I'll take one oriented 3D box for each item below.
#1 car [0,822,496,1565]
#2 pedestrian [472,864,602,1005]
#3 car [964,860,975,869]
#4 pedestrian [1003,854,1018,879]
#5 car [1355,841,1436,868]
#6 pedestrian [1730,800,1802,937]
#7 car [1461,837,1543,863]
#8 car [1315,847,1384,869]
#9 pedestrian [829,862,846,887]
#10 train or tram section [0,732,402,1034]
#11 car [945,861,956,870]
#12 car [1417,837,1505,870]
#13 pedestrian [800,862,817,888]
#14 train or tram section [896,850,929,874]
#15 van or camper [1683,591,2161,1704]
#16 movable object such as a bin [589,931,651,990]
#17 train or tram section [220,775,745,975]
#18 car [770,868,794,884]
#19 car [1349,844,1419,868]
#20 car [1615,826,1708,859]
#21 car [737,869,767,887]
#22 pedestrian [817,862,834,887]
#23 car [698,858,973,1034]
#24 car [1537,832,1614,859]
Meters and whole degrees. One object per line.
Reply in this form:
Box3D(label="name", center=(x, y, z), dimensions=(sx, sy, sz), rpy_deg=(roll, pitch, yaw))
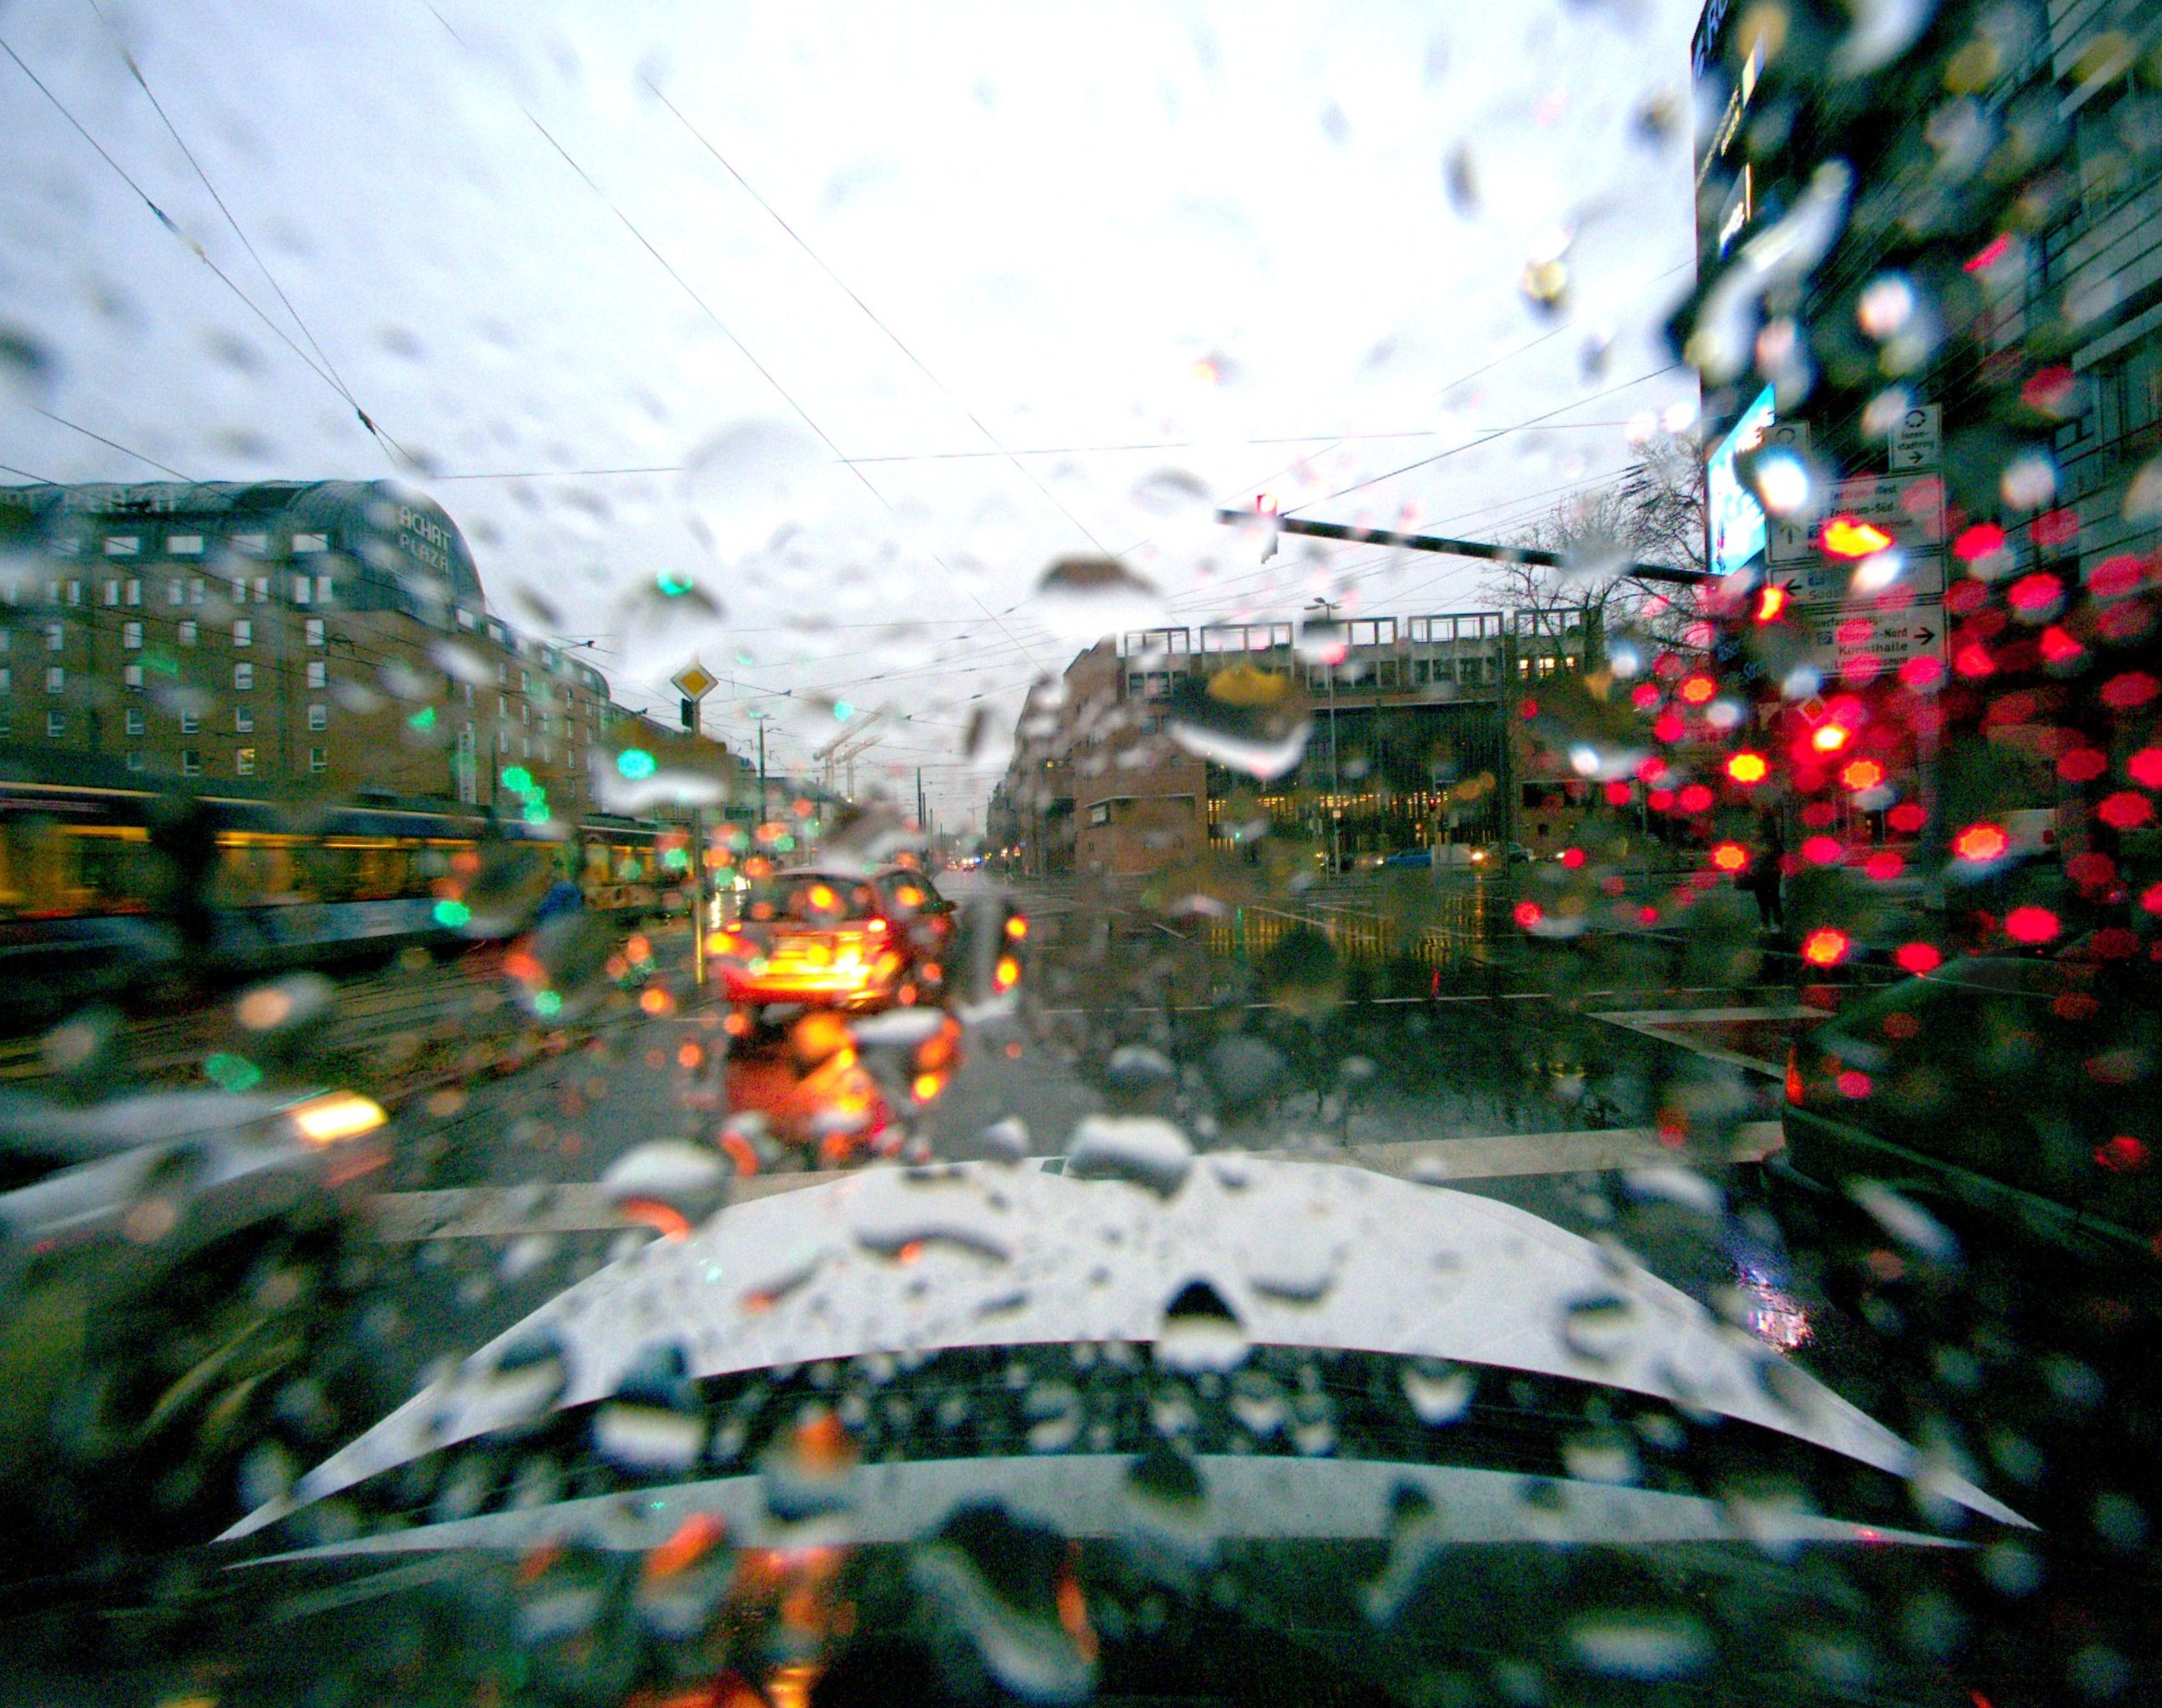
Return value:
Box3D(label="car", center=(-2.999, 0.646, 0.895), dimensions=(1.699, 1.448, 4.000), rpy_deg=(-2, -3, 2))
Box3D(label="pedestrian", center=(-6.663, 0.959, 10.021), dimensions=(0.708, 1.601, 1.041), rpy_deg=(-4, -1, 16))
Box3D(label="car", center=(-19.862, 1.869, 145.147), dimensions=(1.868, 1.579, 3.991), rpy_deg=(0, 0, -6))
Box3D(label="pedestrian", center=(-5.727, 1.017, 66.306), dimensions=(1.069, 2.013, 0.682), rpy_deg=(-2, 0, -12))
Box3D(label="car", center=(18.323, 0.012, 47.531), dimensions=(3.979, 1.263, 1.845), rpy_deg=(-2, 4, -4))
Box3D(label="pedestrian", center=(11.259, 0.234, 13.405), dimensions=(0.574, 2.184, 0.619), rpy_deg=(-1, -1, -4))
Box3D(label="car", center=(24.830, -0.260, 48.084), dimensions=(3.979, 1.288, 1.845), rpy_deg=(-2, 4, -4))
Box3D(label="car", center=(18.257, 0.288, 55.450), dimensions=(3.977, 1.310, 1.998), rpy_deg=(-2, 0, -2))
Box3D(label="pedestrian", center=(-20.213, 1.701, 67.677), dimensions=(0.973, 2.014, 0.838), rpy_deg=(-1, -1, 16))
Box3D(label="train or tram section", center=(-14.388, 0.382, 5.383), dimensions=(2.855, 3.614, 20.068), rpy_deg=(-2, 0, 0))
Box3D(label="car", center=(-24.569, 2.151, 153.335), dimensions=(1.869, 1.579, 3.989), rpy_deg=(0, 0, -8))
Box3D(label="car", center=(20.444, -0.061, 43.898), dimensions=(3.979, 1.504, 1.845), rpy_deg=(-2, 4, -4))
Box3D(label="pedestrian", center=(-21.859, 1.686, 65.305), dimensions=(0.973, 2.014, 0.838), rpy_deg=(-1, -1, 16))
Box3D(label="train or tram section", center=(-26.816, 1.268, 131.229), dimensions=(3.189, 3.436, 27.753), rpy_deg=(-2, 0, -8))
Box3D(label="van or camper", center=(2.686, 0.497, 0.304), dimensions=(1.750, 1.906, 4.420), rpy_deg=(-1, 0, 2))
Box3D(label="movable object such as a bin", center=(-6.038, 1.384, 10.669), dimensions=(0.407, 0.699, 0.541), rpy_deg=(-4, -2, 26))
Box3D(label="train or tram section", center=(-15.091, 0.437, 24.773), dimensions=(2.859, 3.614, 19.185), rpy_deg=(-2, 0, -4))
Box3D(label="car", center=(-31.587, 2.331, 86.120), dimensions=(1.787, 1.624, 3.850), rpy_deg=(-1, 0, -11))
Box3D(label="car", center=(19.156, 0.117, 51.600), dimensions=(3.713, 1.263, 1.845), rpy_deg=(-2, 4, -4))
Box3D(label="car", center=(32.258, -0.662, 45.335), dimensions=(3.979, 1.600, 1.845), rpy_deg=(-2, 4, -4))
Box3D(label="car", center=(-30.446, 2.208, 75.469), dimensions=(1.787, 1.624, 3.850), rpy_deg=(-1, 0, -11))
Box3D(label="pedestrian", center=(-20.857, 1.688, 66.421), dimensions=(0.973, 2.014, 0.838), rpy_deg=(-1, -1, 16))
Box3D(label="car", center=(-2.379, 0.808, 8.926), dimensions=(1.691, 1.459, 3.759), rpy_deg=(-2, 0, 2))
Box3D(label="car", center=(32.170, -0.587, 53.080), dimensions=(3.979, 1.504, 1.845), rpy_deg=(-2, 4, -4))
